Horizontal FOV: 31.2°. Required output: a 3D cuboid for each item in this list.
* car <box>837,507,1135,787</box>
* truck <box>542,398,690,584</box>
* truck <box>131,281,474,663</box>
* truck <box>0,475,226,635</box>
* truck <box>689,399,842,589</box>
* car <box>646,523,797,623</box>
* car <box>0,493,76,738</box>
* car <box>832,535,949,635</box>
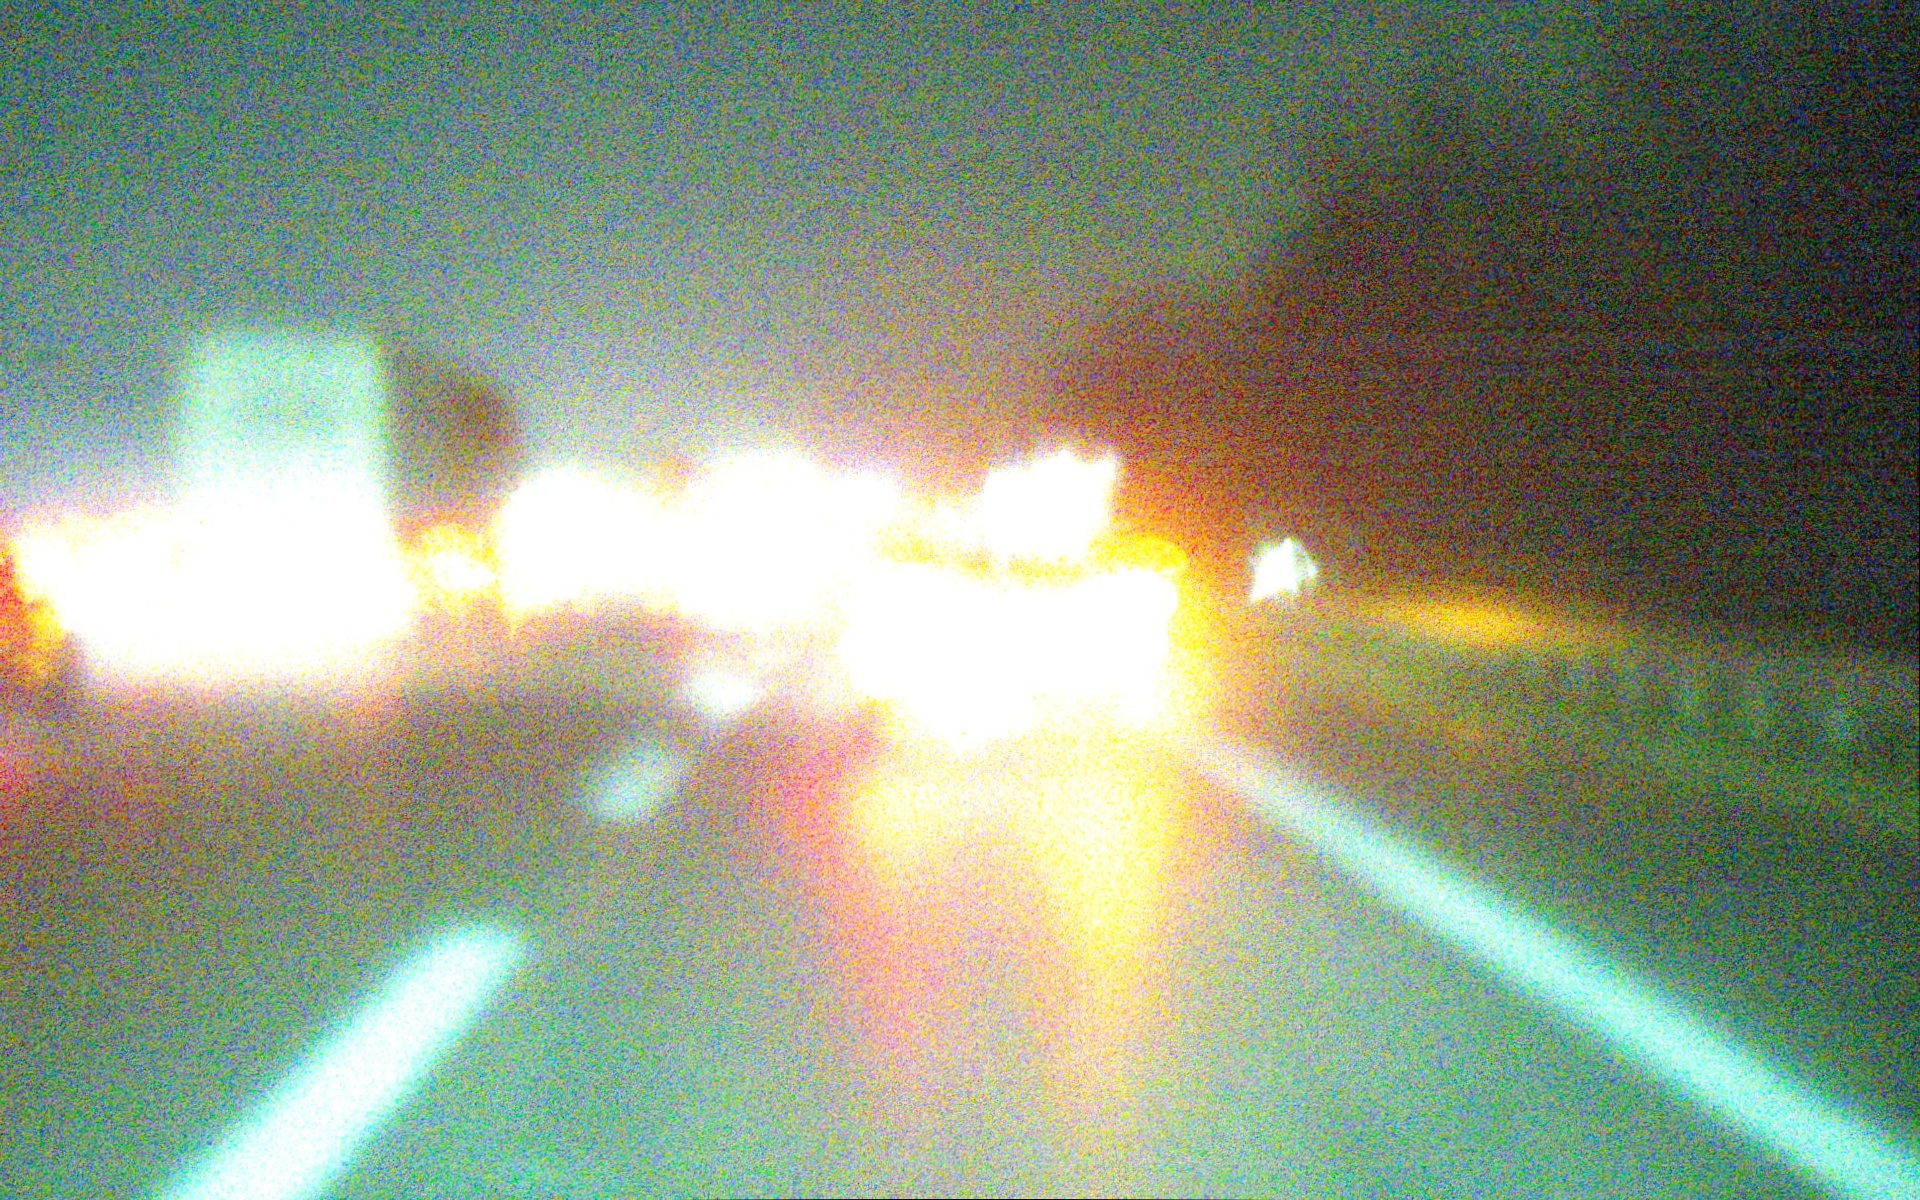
[{"bbox_3d":[0.156,0.267,23.956,1.878,1.756,4.000,1,1,0],"label":"car"},{"bbox_3d":[-10.621,-3.327,107.354,4.253,5.425,10.886,1,1,-4],"label":"truck"},{"bbox_3d":[-8.928,-1.680,47.986,3.655,4.721,9.854,1,1,-5],"label":"truck"},{"bbox_3d":[-12.740,-0.682,51.007,2.856,2.193,5.860,1,1,-5],"label":"truck"},{"bbox_3d":[-5.720,-3.010,100.415,4.161,5.197,9.956,1,1,-4],"label":"truck"},{"bbox_3d":[-5.027,-0.595,73.313,2.833,2.007,5.510,1,1,0],"label":"car"},{"bbox_3d":[-8.010,0.079,25.728,2.038,1.755,4.517,1,1,-6],"label":"car"},{"bbox_3d":[-1.224,-0.293,61.562,1.993,1.698,4.459,1,1,-1],"label":"car"}]
